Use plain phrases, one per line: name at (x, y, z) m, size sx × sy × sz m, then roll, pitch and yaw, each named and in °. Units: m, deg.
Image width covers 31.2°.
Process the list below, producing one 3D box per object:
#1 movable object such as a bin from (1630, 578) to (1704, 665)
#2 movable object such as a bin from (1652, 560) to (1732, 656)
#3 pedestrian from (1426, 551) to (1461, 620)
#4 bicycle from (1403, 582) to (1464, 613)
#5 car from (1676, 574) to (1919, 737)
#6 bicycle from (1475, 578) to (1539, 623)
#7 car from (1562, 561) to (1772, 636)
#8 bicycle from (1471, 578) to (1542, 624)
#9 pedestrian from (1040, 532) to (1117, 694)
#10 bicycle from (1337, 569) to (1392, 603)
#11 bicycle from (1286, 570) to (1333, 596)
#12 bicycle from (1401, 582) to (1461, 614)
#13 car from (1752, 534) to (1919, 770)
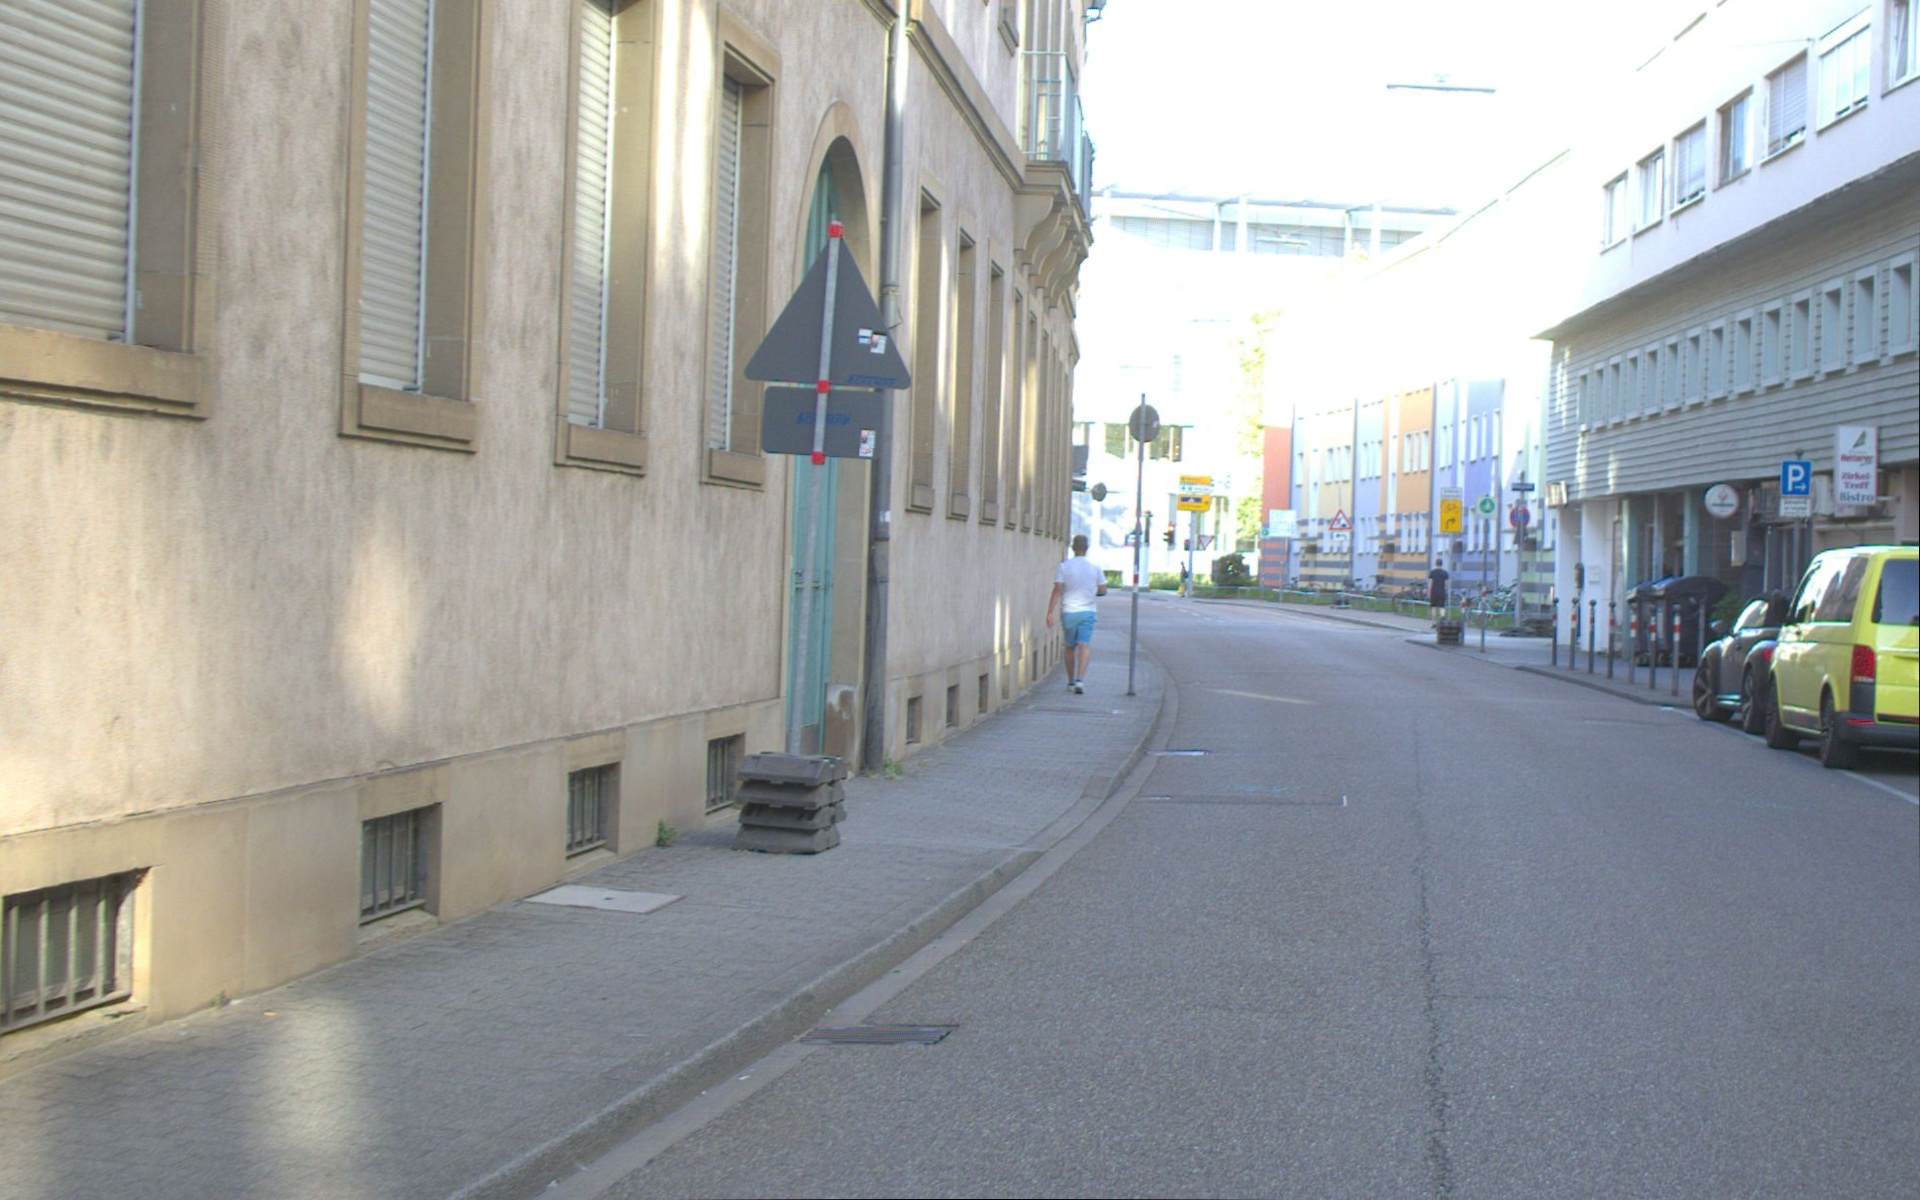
movable object such as a bin at (11.483, 0.361, 55.862) m, size 0.981 × 1.380 × 1.320 m, roll 0°, pitch -2°, yaw 2°
movable object such as a bin at (11.539, 0.135, 54.227) m, size 0.981 × 1.475 × 1.551 m, roll 0°, pitch -2°, yaw 2°
pedestrian at (12.365, -0.379, 87.979) m, size 0.697 × 1.754 × 1.189 m, roll -1°, pitch 0°, yaw 0°
bicycle at (14.399, -0.073, 104.597) m, size 1.748 × 0.943 × 0.552 m, roll 1°, pitch 0°, yaw 0°
car at (8.745, 0.528, 35.534) m, size 1.883 × 1.484 × 4.368 m, roll 2°, pitch 1°, yaw 2°
bicycle at (14.538, 0.012, 91.397) m, size 1.640 × 1.137 × 0.283 m, roll -2°, pitch 1°, yaw -8°
car at (15.134, -0.036, 73.687) m, size 4.078 × 1.477 × 1.865 m, roll 1°, pitch 0°, yaw 0°
bicycle at (14.302, 0.033, 89.986) m, size 1.748 × 1.137 × 0.552 m, roll -2°, pitch 1°, yaw 0°
pedestrian at (1.267, 0.132, 36.676) m, size 0.693 × 1.664 × 0.875 m, roll 4°, pitch 0°, yaw 4°
bicycle at (14.176, -0.493, 120.517) m, size 1.810 × 1.133 × 0.552 m, roll 1°, pitch 0°, yaw -1°
bicycle at (13.705, -0.676, 134.831) m, size 1.753 × 1.000 × 0.613 m, roll 0°, pitch 0°, yaw -5°
bicycle at (14.237, -0.056, 103.921) m, size 1.748 × 0.943 × 0.552 m, roll 1°, pitch 0°, yaw 0°
car at (8.296, 0.416, 30.138) m, size 1.883 × 1.875 × 4.844 m, roll 2°, pitch 1°, yaw 5°
